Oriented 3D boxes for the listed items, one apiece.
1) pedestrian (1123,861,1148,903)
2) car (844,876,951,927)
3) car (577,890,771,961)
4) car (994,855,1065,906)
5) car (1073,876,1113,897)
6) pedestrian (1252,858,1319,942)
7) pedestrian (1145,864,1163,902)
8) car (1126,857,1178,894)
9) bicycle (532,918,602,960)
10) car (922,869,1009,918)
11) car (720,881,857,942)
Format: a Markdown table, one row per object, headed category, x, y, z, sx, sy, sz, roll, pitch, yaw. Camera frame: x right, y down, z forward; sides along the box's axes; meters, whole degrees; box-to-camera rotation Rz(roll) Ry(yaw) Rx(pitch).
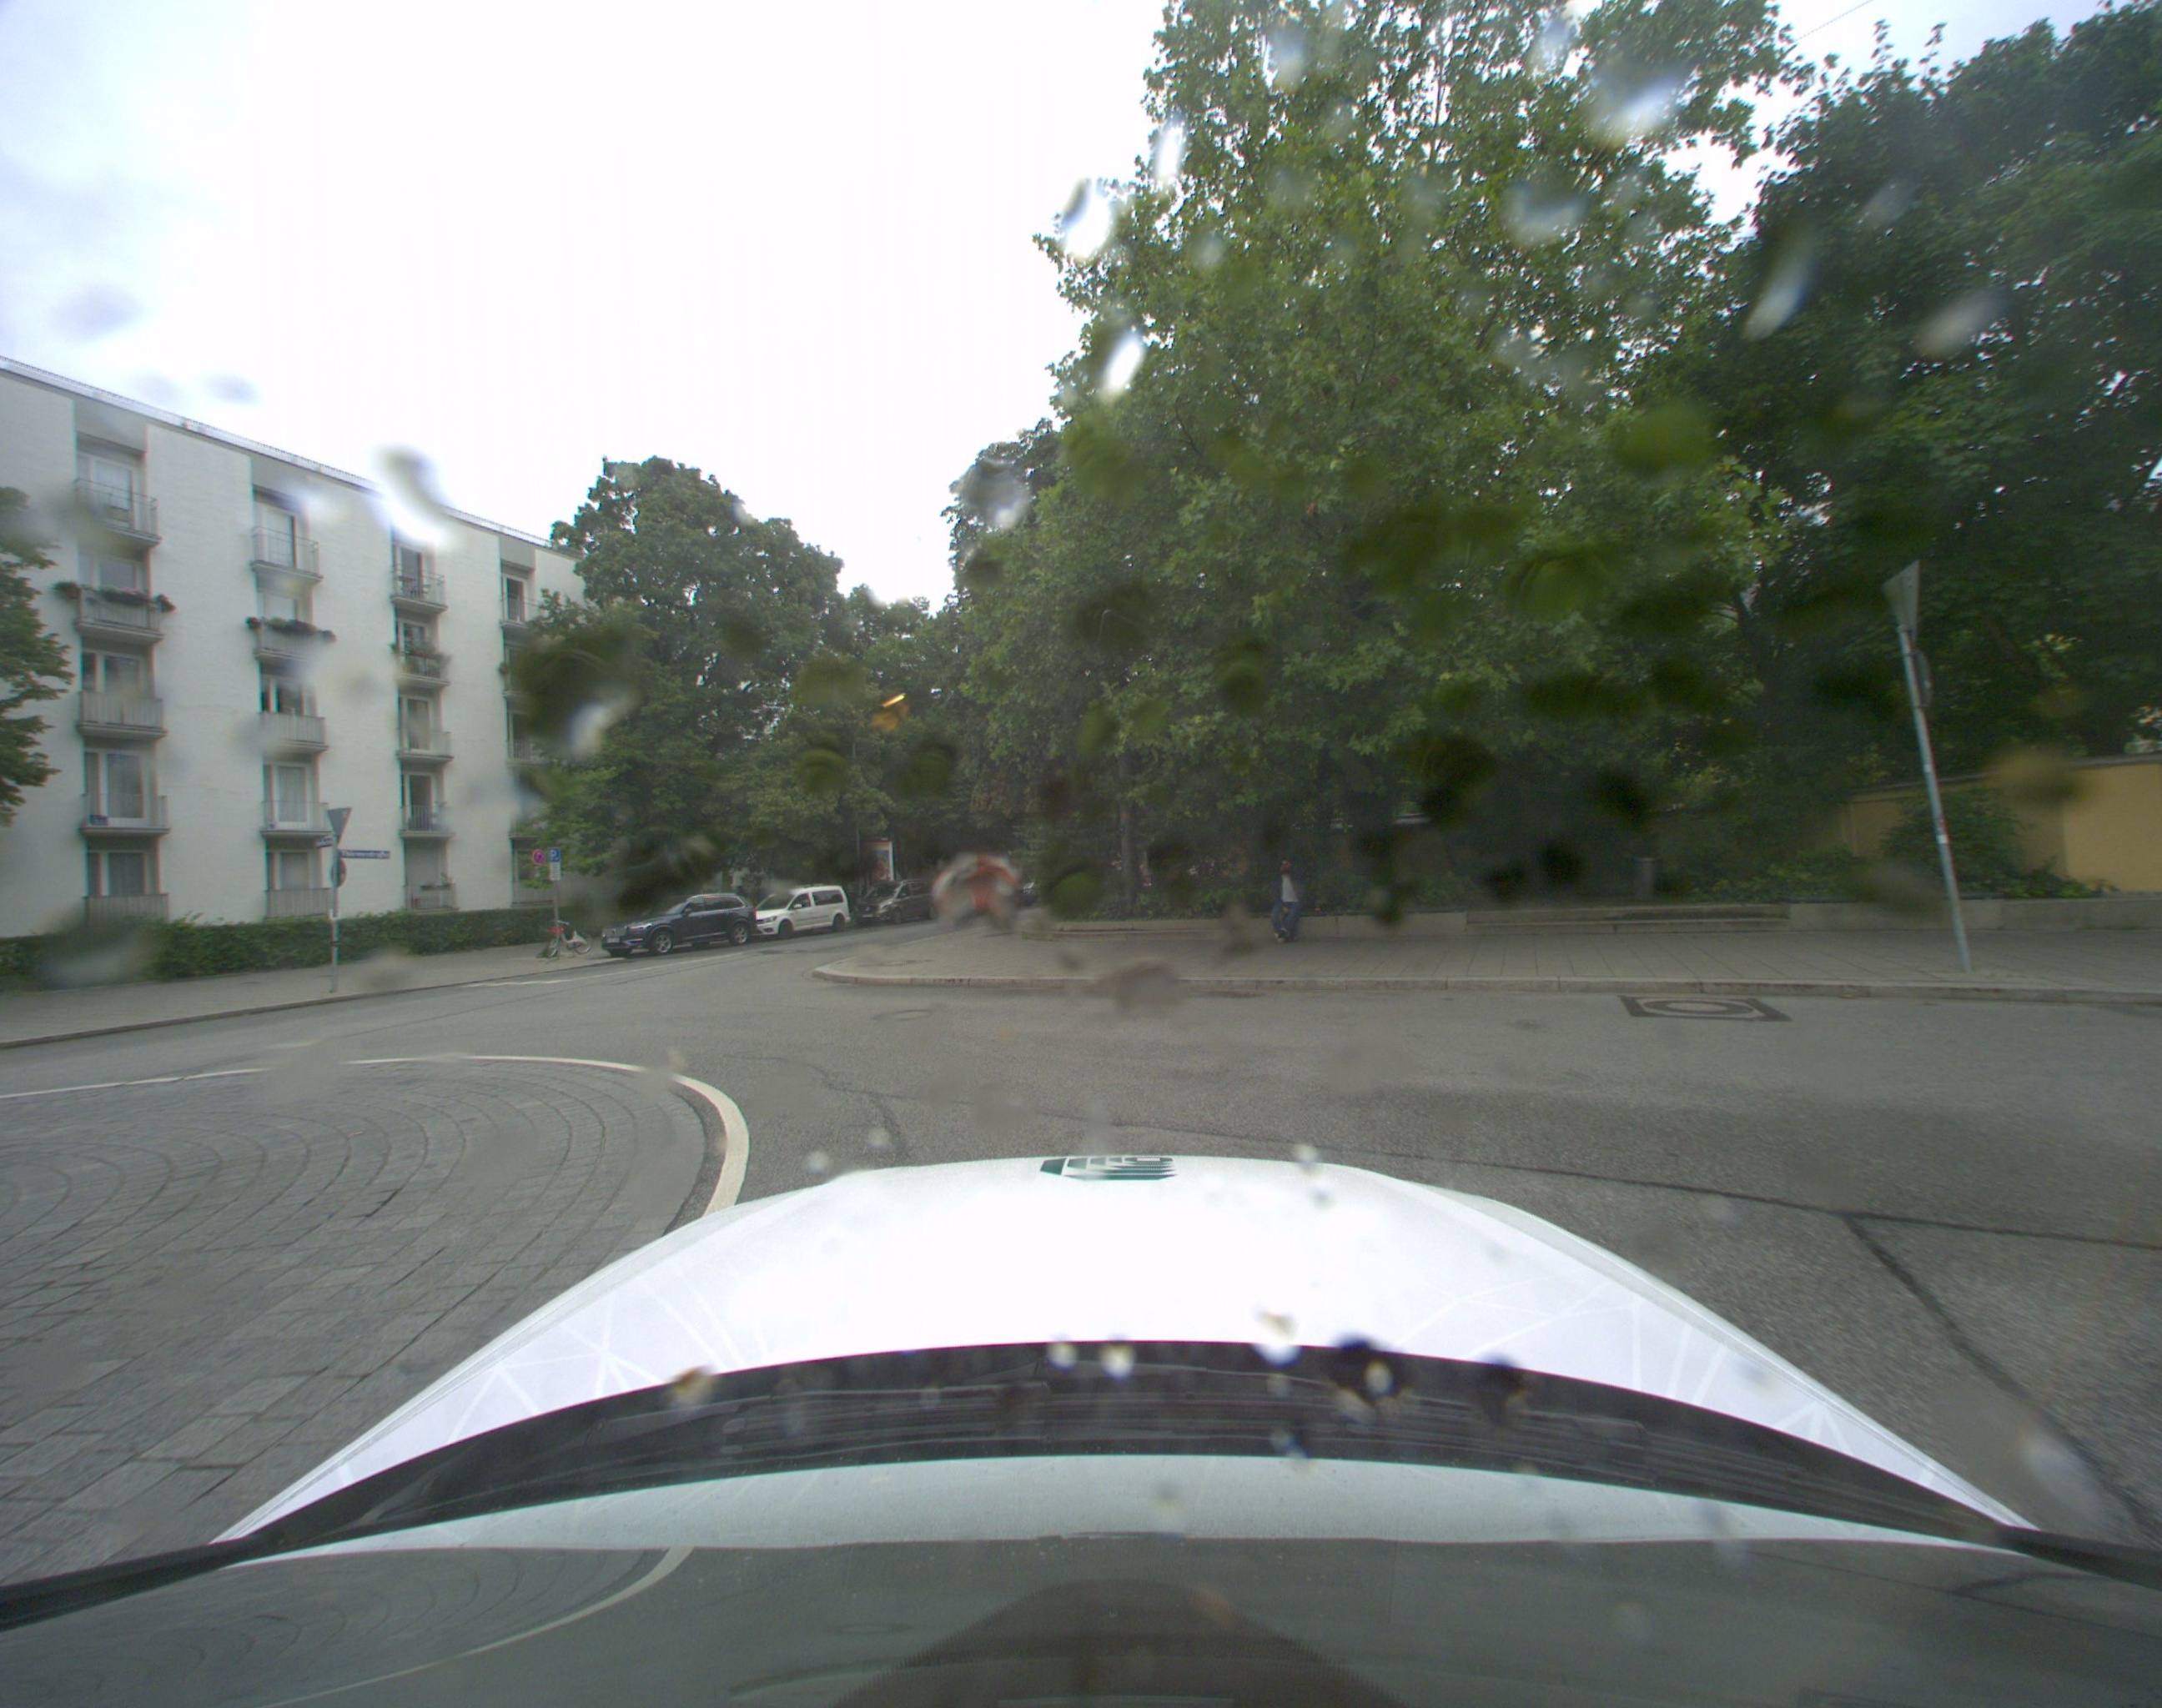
| category | x | y | z | sx | sy | sz | roll | pitch | yaw |
| --- | --- | --- | --- | --- | --- | --- | --- | --- | --- |
| pedestrian | 2.470 | 1.285 | 36.963 | 0.819 | 1.836 | 0.949 | -3 | -2 | -8 |
| car | -8.225 | 2.107 | 37.138 | 2.010 | 1.908 | 5.693 | -5 | -2 | 18 |
| car | -12.496 | 2.143 | 25.520 | 2.065 | 1.719 | 5.333 | -4 | -2 | 22 |
| car | -3.206 | 1.629 | 52.287 | 2.155 | 3.003 | 6.263 | -4 | -2 | 19 |
| car | 0.980 | 2.463 | 62.894 | 1.978 | 1.420 | 4.147 | -4 | -1 | 16 |
| pedestrian | 3.505 | 0.769 | 13.914 | 0.761 | 1.357 | 1.138 | -4 | -2 | 28 |
| pedestrian | 3.297 | 1.292 | 36.724 | 0.631 | 1.667 | 0.696 | -3 | -2 | -3 |
| car | 4.159 | 1.205 | 46.970 | 1.896 | 1.937 | 4.991 | -4 | -2 | 17 |
| bicycle | -15.526 | 2.548 | 24.670 | 0.747 | 1.085 | 1.789 | -4 | -2 | 9 |
| car | -6.083 | 2.054 | 43.740 | 2.066 | 2.265 | 5.630 | -6 | -2 | 20 |
| car | -10.819 | 2.084 | 30.524 | 2.066 | 1.904 | 4.883 | -4 | -2 | 20 |
